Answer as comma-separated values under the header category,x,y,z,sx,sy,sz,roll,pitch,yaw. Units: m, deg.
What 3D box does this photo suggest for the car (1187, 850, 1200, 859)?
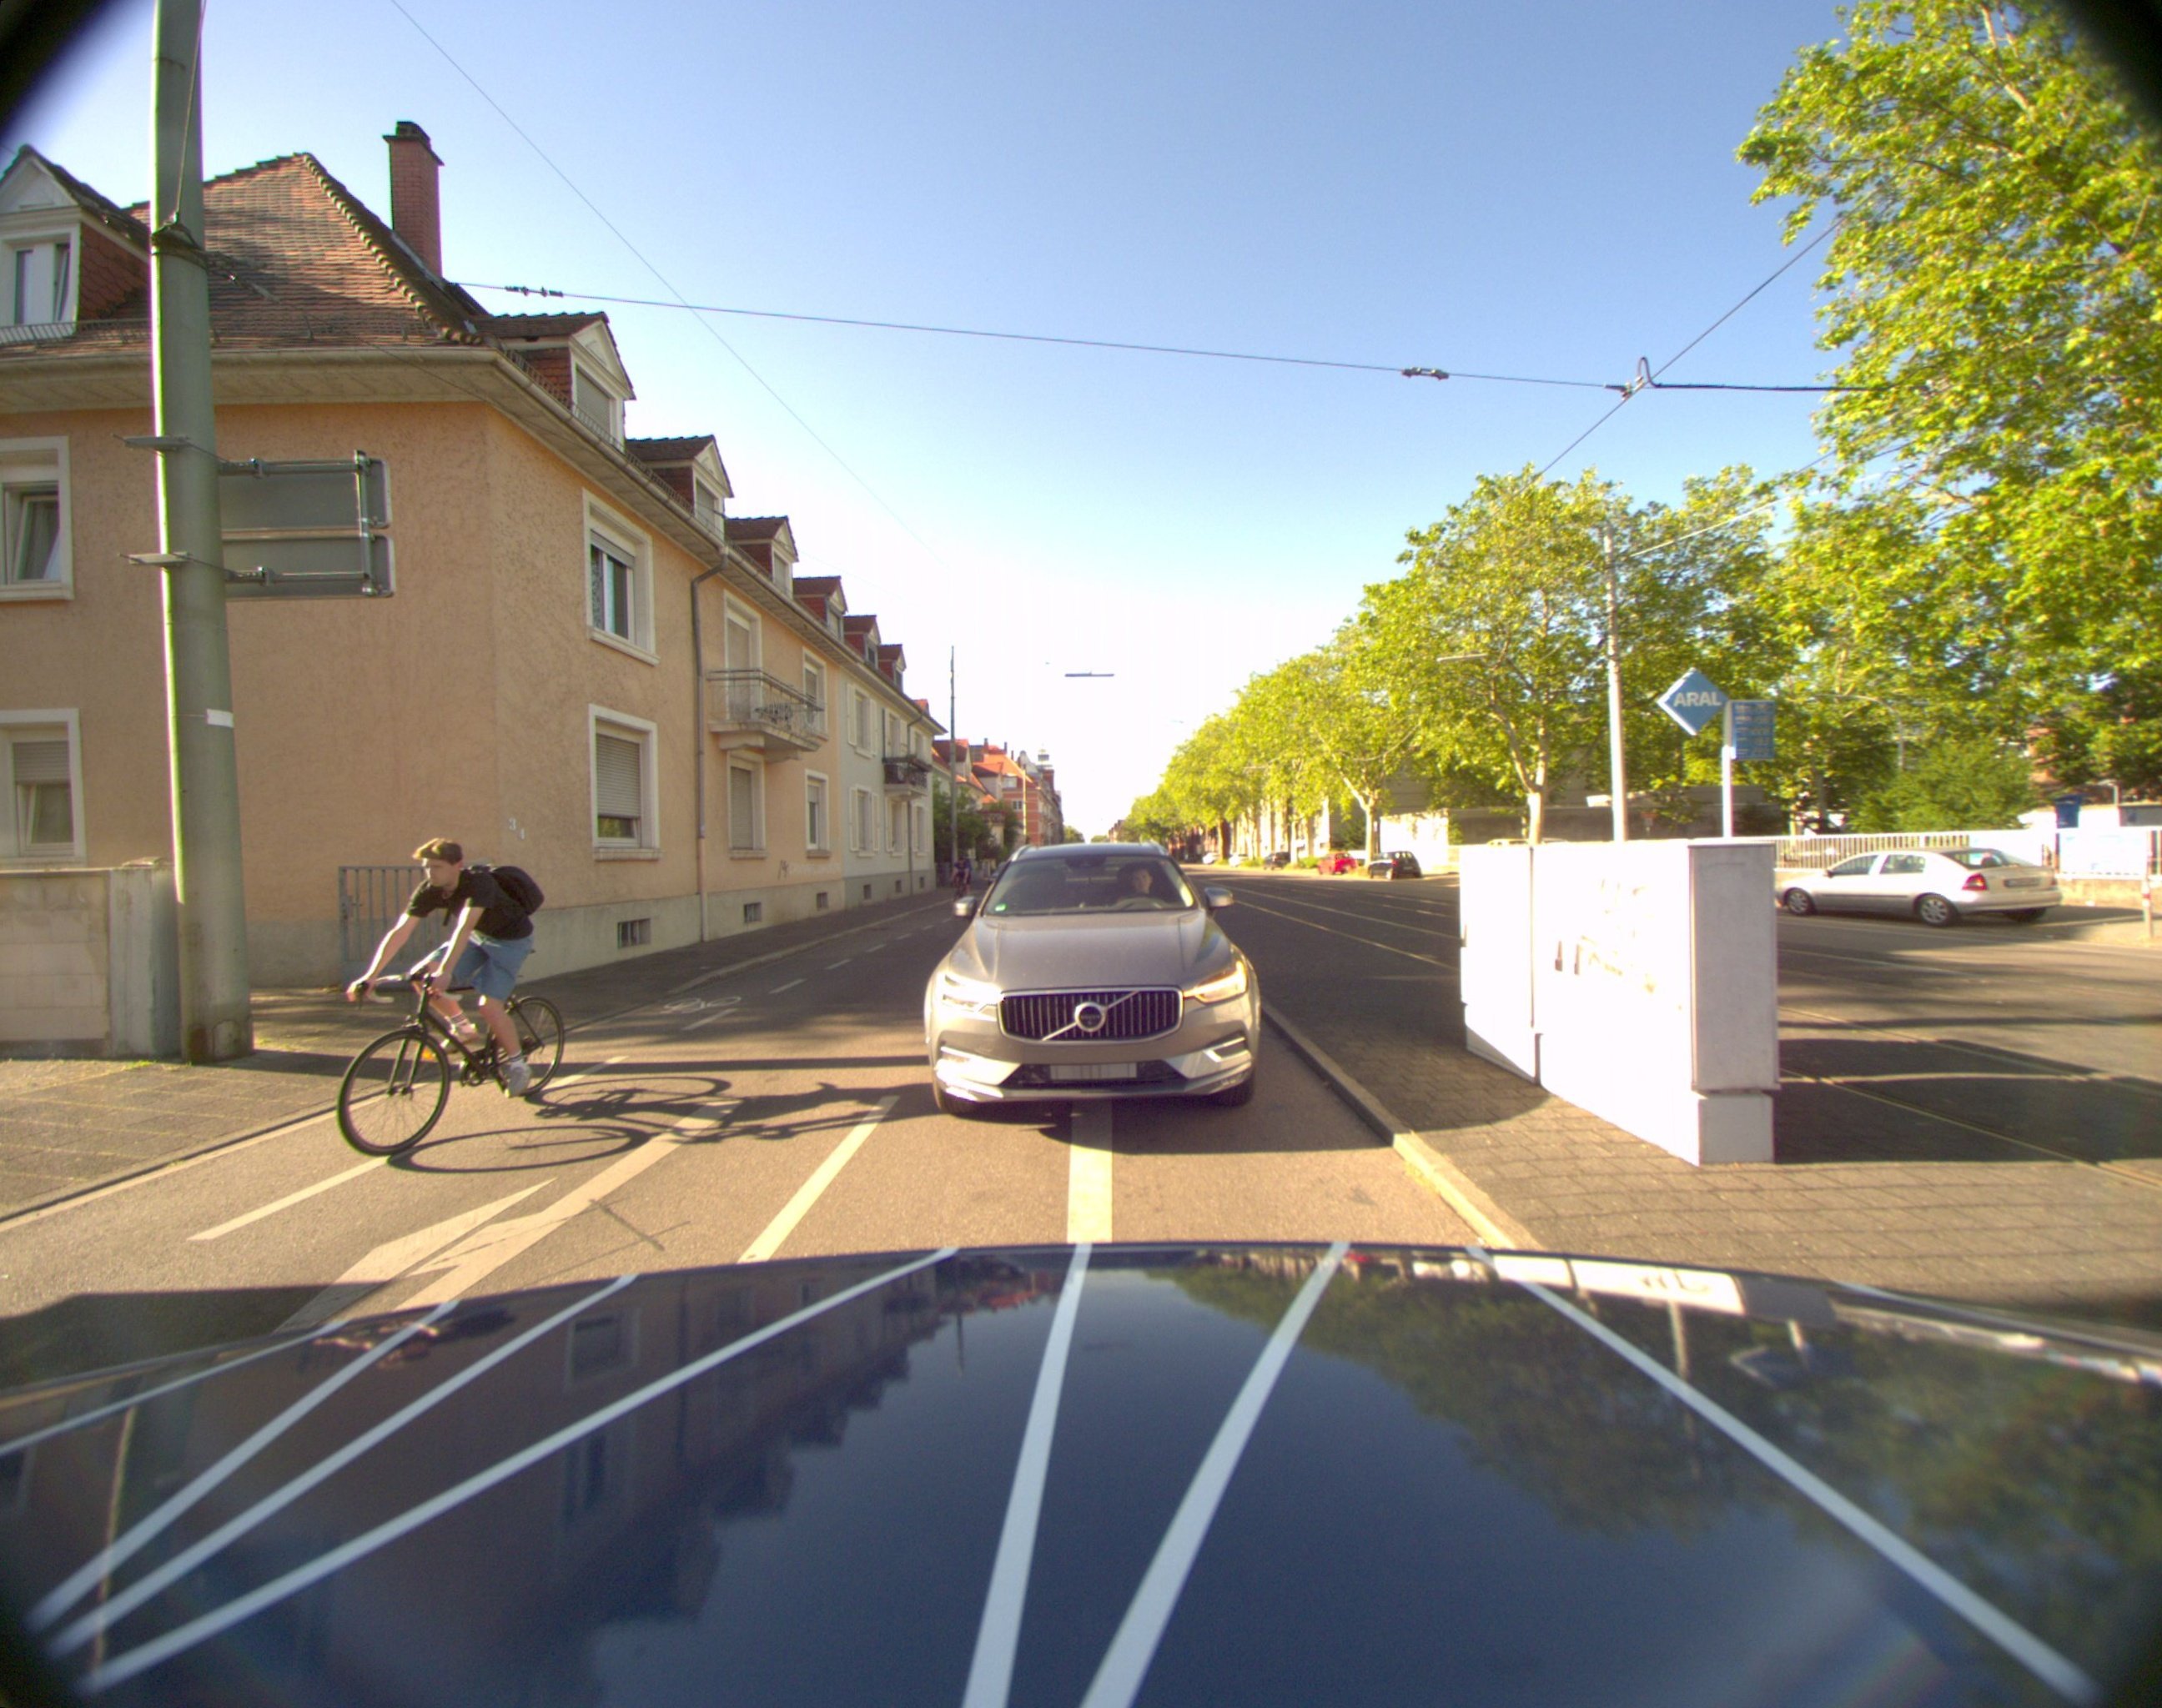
category,x,y,z,sx,sy,sz,roll,pitch,yaw
car,18.502,0.048,125.296,1.758,1.475,3.858,-3,0,3

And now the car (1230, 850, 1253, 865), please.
category,x,y,z,sx,sy,sz,roll,pitch,yaw
car,17.574,0.349,83.346,1.758,1.475,3.858,-3,0,3

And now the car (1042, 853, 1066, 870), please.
category,x,y,z,sx,sy,sz,roll,pitch,yaw
car,-2.358,0.613,66.364,1.867,1.399,4.078,-1,0,1

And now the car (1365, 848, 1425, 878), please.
category,x,y,z,sx,sy,sz,roll,pitch,yaw
car,16.888,0.454,41.045,1.758,1.449,3.858,-3,0,3

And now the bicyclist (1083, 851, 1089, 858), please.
category,x,y,z,sx,sy,sz,roll,pitch,yaw
bicyclist,0.969,0.102,151.204,1.054,1.496,1.250,-1,1,1

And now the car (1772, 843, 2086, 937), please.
category,x,y,z,sx,sy,sz,roll,pitch,yaw
car,16.235,0.605,14.910,1.847,1.477,3.858,-4,0,2

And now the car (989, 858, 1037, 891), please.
category,x,y,z,sx,sy,sz,roll,pitch,yaw
car,-3.240,0.958,37.079,1.867,1.399,4.424,-1,0,1

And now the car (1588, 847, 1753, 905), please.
category,x,y,z,sx,sy,sz,roll,pitch,yaw
car,16.475,0.566,21.518,1.745,1.389,3.858,-4,0,3

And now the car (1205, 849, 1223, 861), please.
category,x,y,z,sx,sy,sz,roll,pitch,yaw
car,17.667,0.156,100.940,1.758,1.475,3.858,-3,0,3

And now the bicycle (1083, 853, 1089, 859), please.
category,x,y,z,sx,sy,sz,roll,pitch,yaw
bicycle,0.974,0.368,151.211,1.054,1.262,3.914,-1,0,1

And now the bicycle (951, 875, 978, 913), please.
category,x,y,z,sx,sy,sz,roll,pitch,yaw
bicycle,-3.614,1.210,23.617,0.550,1.056,1.794,-1,1,0

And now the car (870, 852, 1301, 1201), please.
category,x,y,z,sx,sy,sz,roll,pitch,yaw
car,0.053,0.812,5.934,1.998,1.609,4.697,-1,0,1

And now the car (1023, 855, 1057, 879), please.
category,x,y,z,sx,sy,sz,roll,pitch,yaw
car,-2.582,0.807,48.500,1.867,1.399,4.078,-1,0,1

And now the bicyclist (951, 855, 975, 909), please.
category,x,y,z,sx,sy,sz,roll,pitch,yaw
bicyclist,-3.647,0.843,23.518,0.562,1.607,1.016,-1,1,0

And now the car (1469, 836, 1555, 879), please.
category,x,y,z,sx,sy,sz,roll,pitch,yaw
car,21.808,0.165,38.644,1.999,2.002,3.999,-1,0,-1

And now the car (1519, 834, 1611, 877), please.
category,x,y,z,sx,sy,sz,roll,pitch,yaw
car,24.156,0.076,38.103,1.999,2.002,3.999,-1,0,-1

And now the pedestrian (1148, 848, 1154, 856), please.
category,x,y,z,sx,sy,sz,roll,pitch,yaw
pedestrian,19.586,-0.560,213.140,1.686,2.002,1.761,-1,1,1

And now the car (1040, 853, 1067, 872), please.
category,x,y,z,sx,sy,sz,roll,pitch,yaw
car,-2.136,0.660,60.059,1.867,1.399,4.078,-1,0,1

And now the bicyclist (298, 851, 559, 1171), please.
category,x,y,z,sx,sy,sz,roll,pitch,yaw
bicyclist,-3.915,0.856,4.670,0.561,1.721,1.084,-2,1,1

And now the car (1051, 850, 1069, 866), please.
category,x,y,z,sx,sy,sz,roll,pitch,yaw
car,-2.329,0.422,85.453,1.867,1.653,4.078,-1,0,1

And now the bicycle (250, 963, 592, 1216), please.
category,x,y,z,sx,sy,sz,roll,pitch,yaw
bicycle,-3.891,1.314,4.707,0.533,1.011,1.758,-1,0,1

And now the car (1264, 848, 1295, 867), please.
category,x,y,z,sx,sy,sz,roll,pitch,yaw
car,17.169,0.288,65.918,1.758,1.536,3.858,-3,0,3

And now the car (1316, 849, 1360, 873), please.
category,x,y,z,sx,sy,sz,roll,pitch,yaw
car,16.900,0.446,50.187,1.717,1.421,3.858,-3,0,3

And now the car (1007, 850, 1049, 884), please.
category,x,y,z,sx,sy,sz,roll,pitch,yaw
car,-2.917,0.695,42.833,1.867,1.778,5.297,-1,0,1
